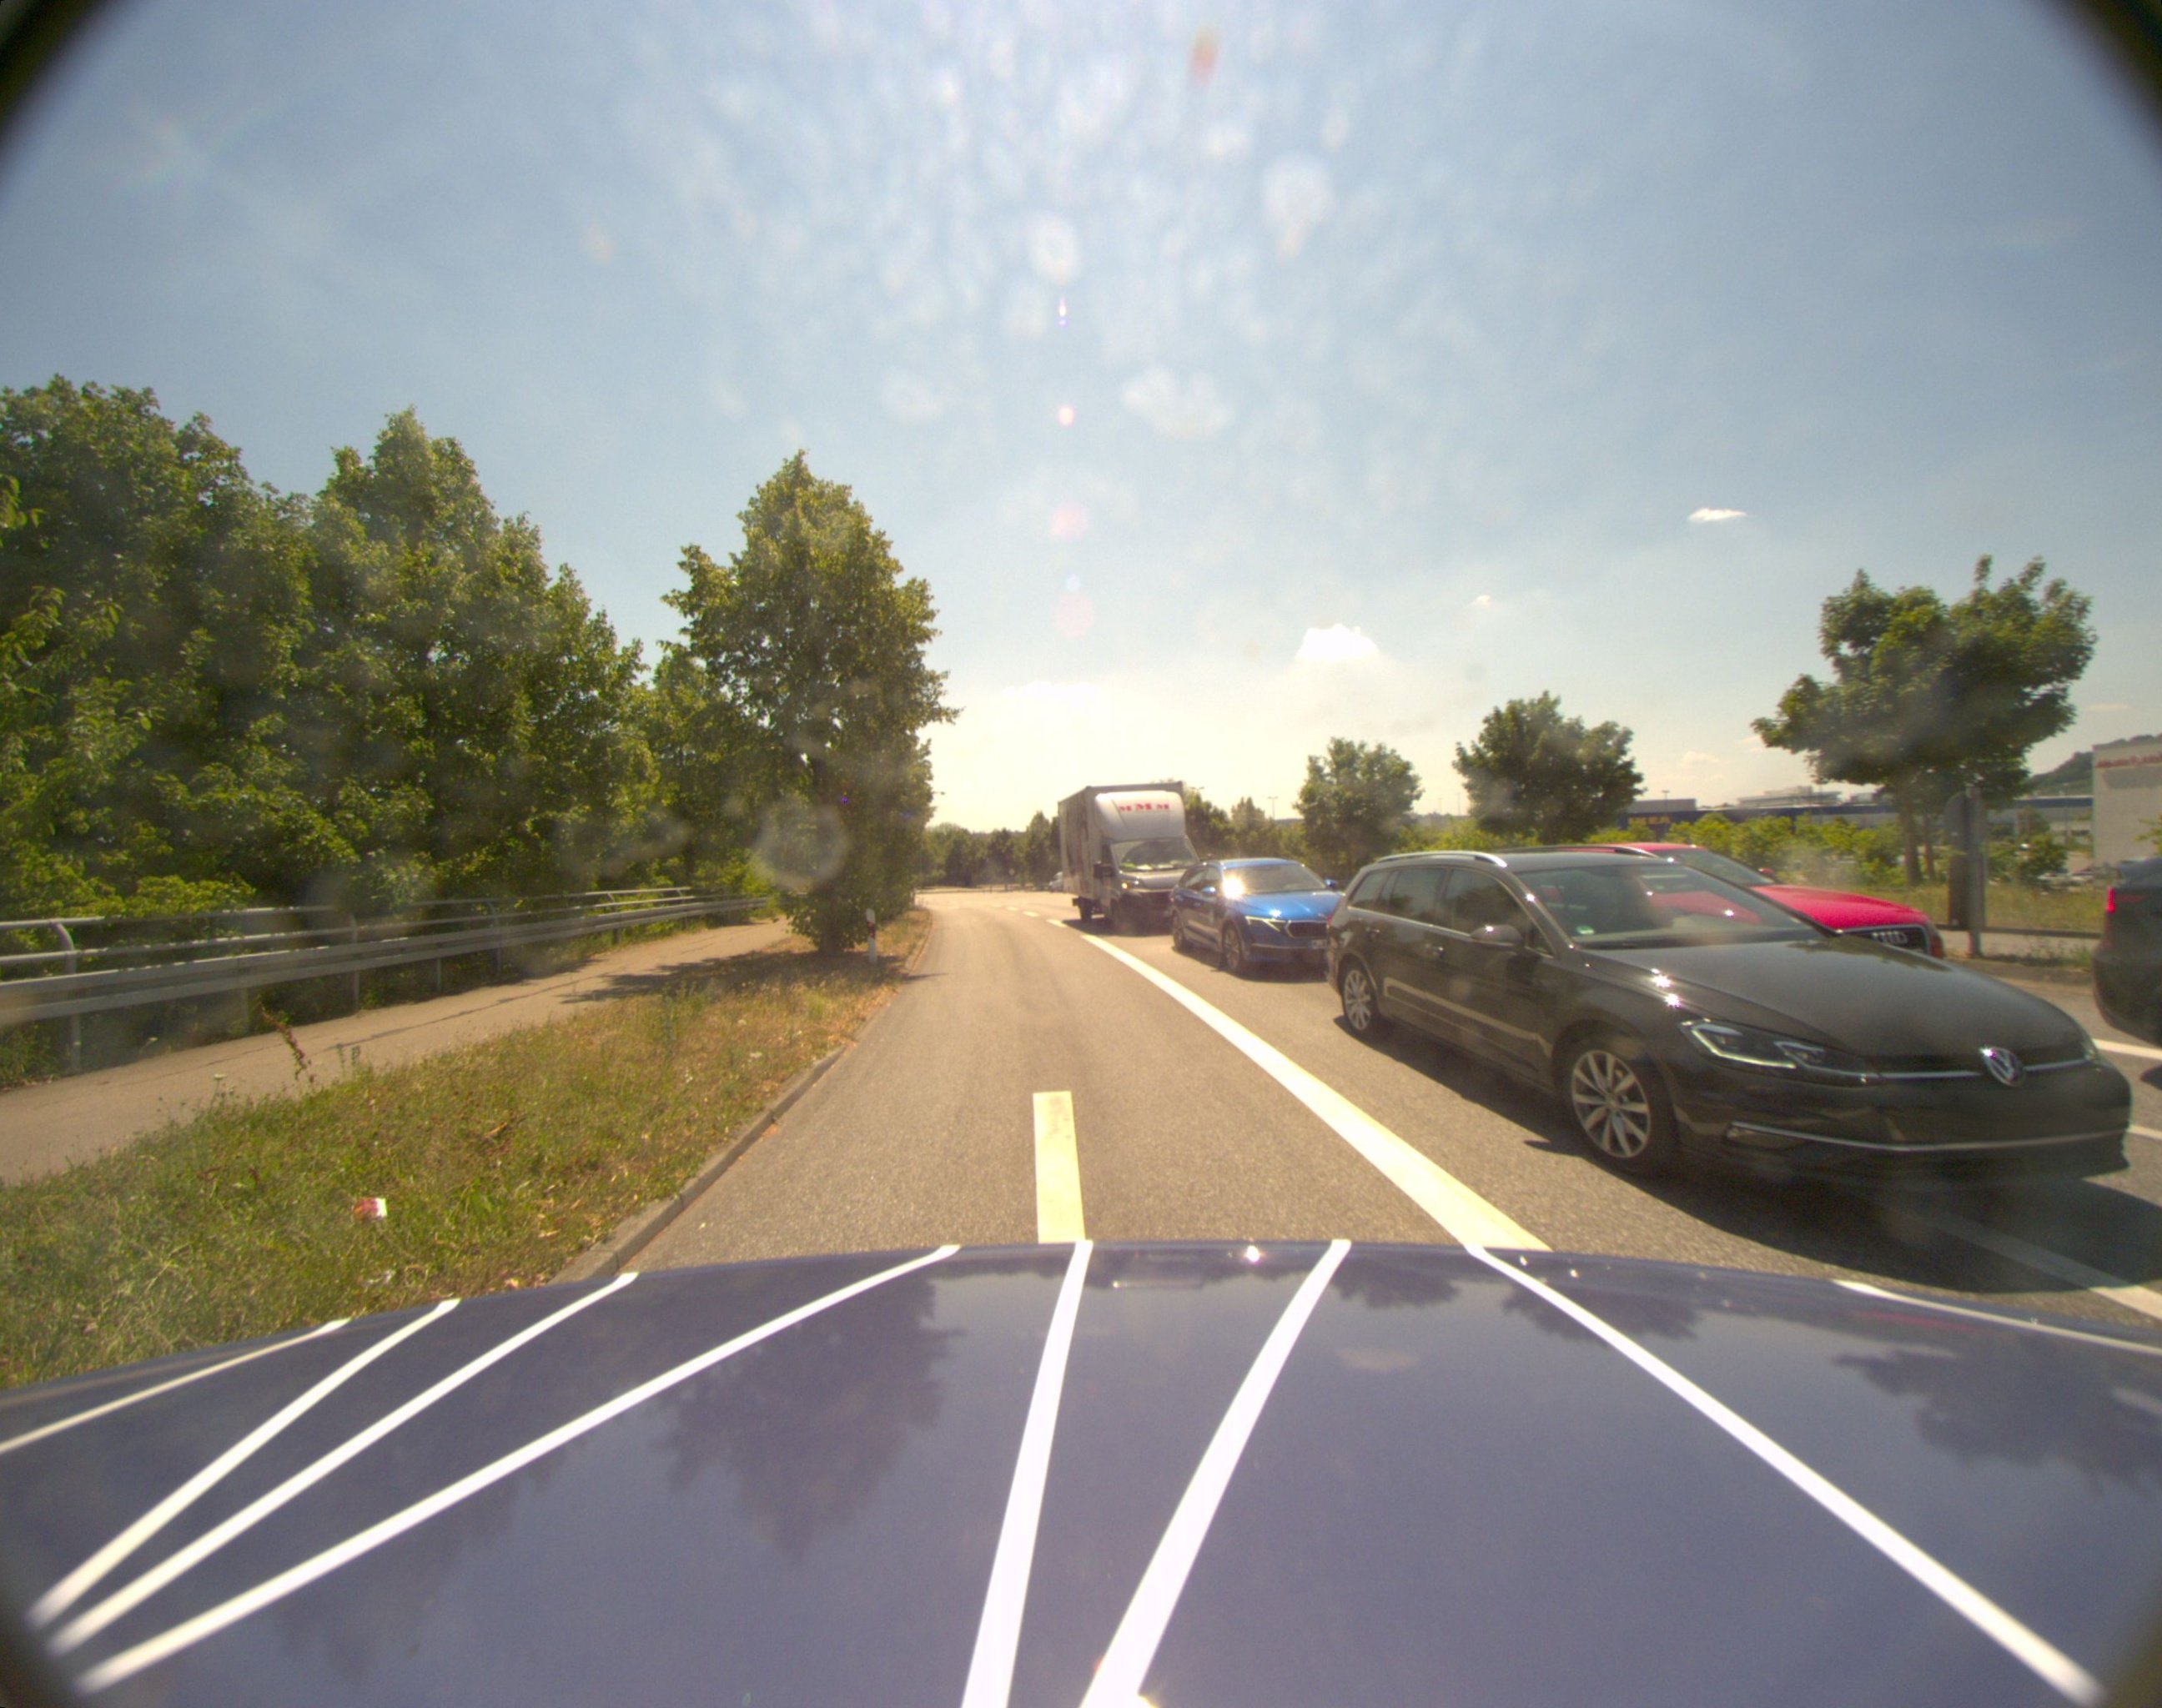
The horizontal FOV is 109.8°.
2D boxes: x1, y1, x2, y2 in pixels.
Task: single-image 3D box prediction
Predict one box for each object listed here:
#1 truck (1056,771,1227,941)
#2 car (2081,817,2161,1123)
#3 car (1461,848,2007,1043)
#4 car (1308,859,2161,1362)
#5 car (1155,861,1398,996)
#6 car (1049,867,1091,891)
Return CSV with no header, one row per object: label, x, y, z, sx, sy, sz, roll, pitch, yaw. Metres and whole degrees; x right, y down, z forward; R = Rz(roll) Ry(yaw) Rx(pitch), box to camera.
truck,1.122,0.109,18.780,2.416,3.327,7.198,-2,-1,-9
car,6.697,0.584,2.066,1.880,1.591,4.503,-2,1,-5
car,6.131,0.676,8.021,1.665,1.380,4.447,-3,1,-5
car,3.101,0.820,4.647,1.783,1.474,4.427,-2,0,-4
car,2.487,0.887,10.977,1.713,1.454,4.486,-3,-1,-9
car,-1.005,2.113,66.012,2.003,1.949,3.991,-2,1,-27
